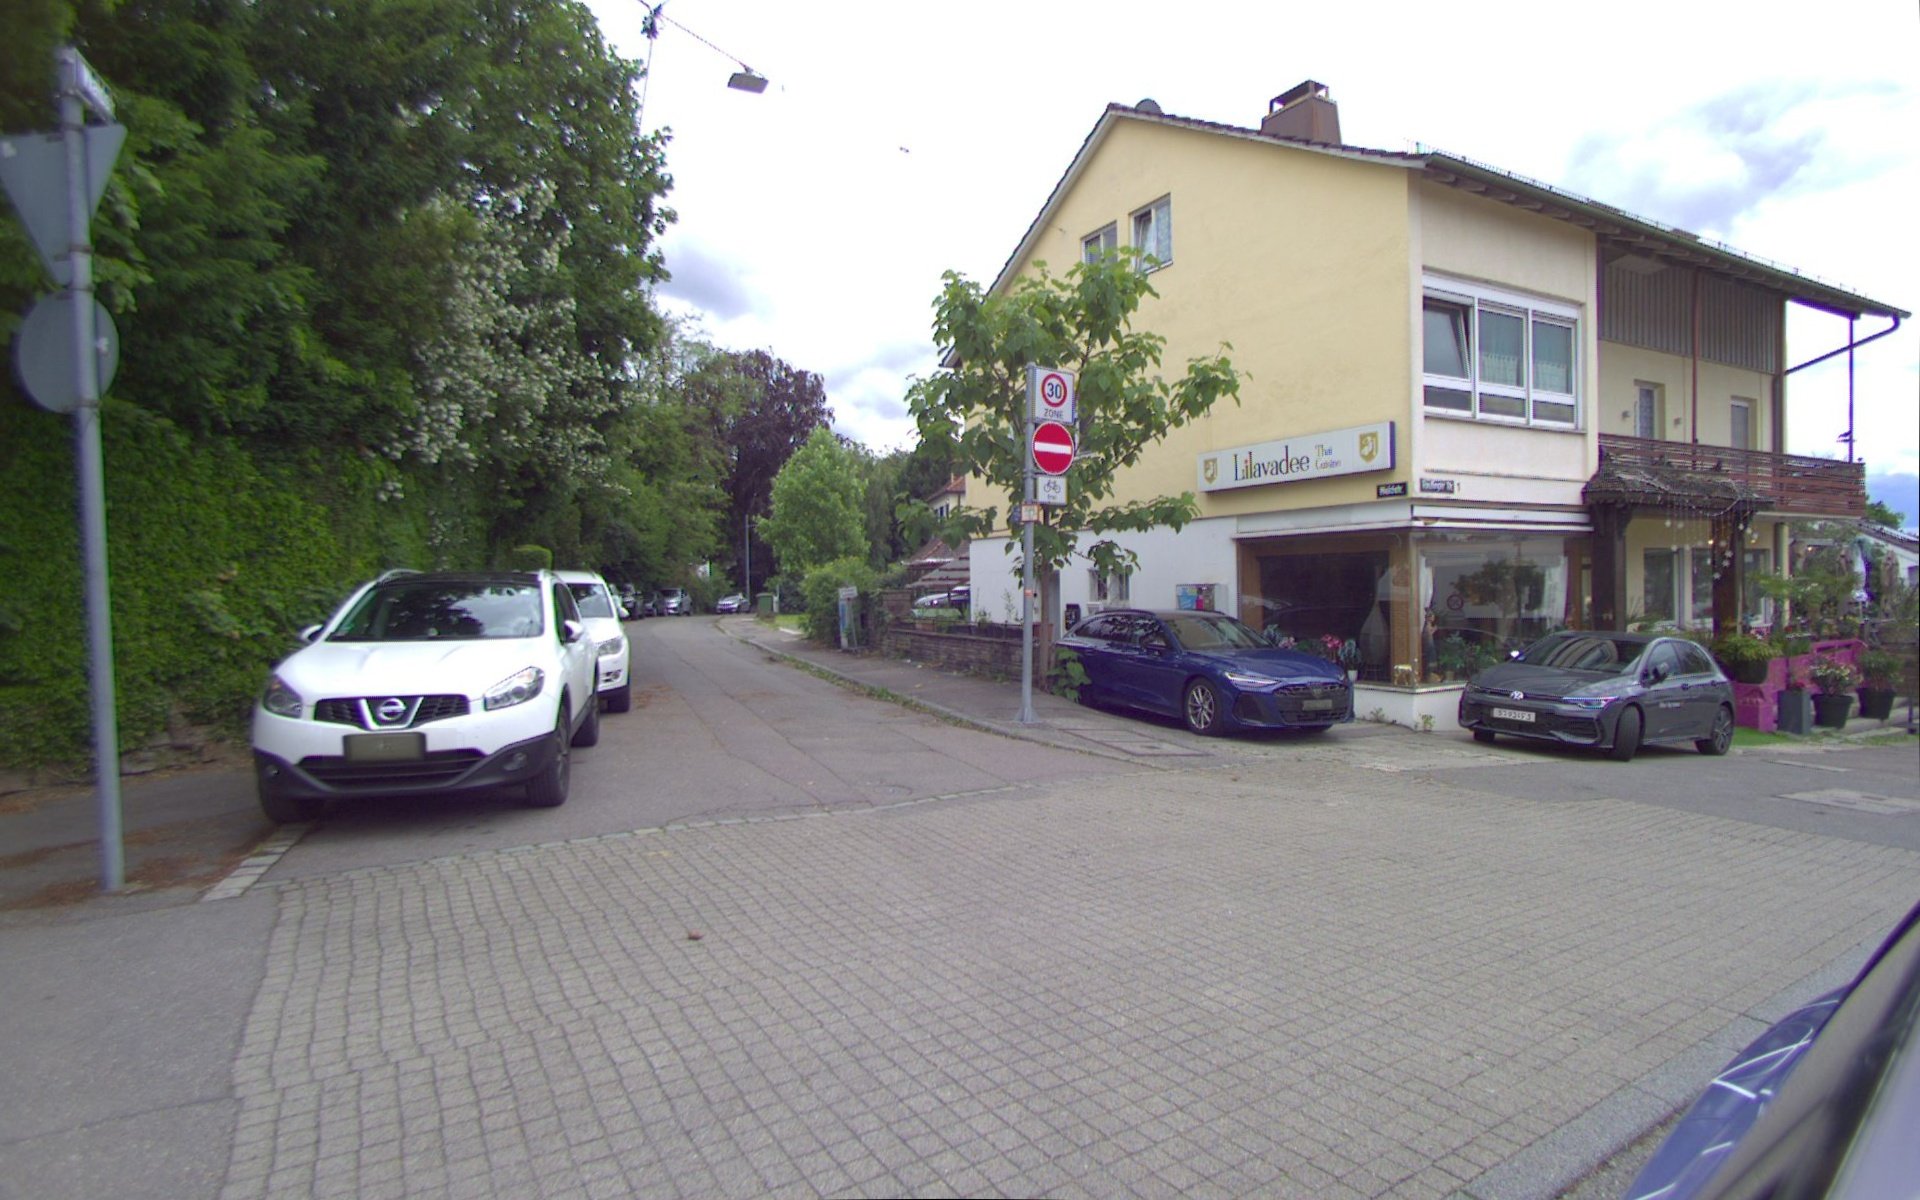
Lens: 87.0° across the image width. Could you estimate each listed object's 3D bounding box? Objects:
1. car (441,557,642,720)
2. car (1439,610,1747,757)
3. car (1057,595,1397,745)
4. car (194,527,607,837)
[{"bbox_3d":[-5.032,0.370,12.696,1.829,1.681,4.076,-1,1,-16],"label":"car"},{"bbox_3d":[7.831,0.987,12.427,3.808,1.512,1.875,4,-2,-35],"label":"car"},{"bbox_3d":[3.175,0.764,12.991,1.892,1.548,4.236,2,0,-25],"label":"car"},{"bbox_3d":[-3.767,0.431,7.633,1.829,1.660,4.076,1,0,-16],"label":"car"}]
